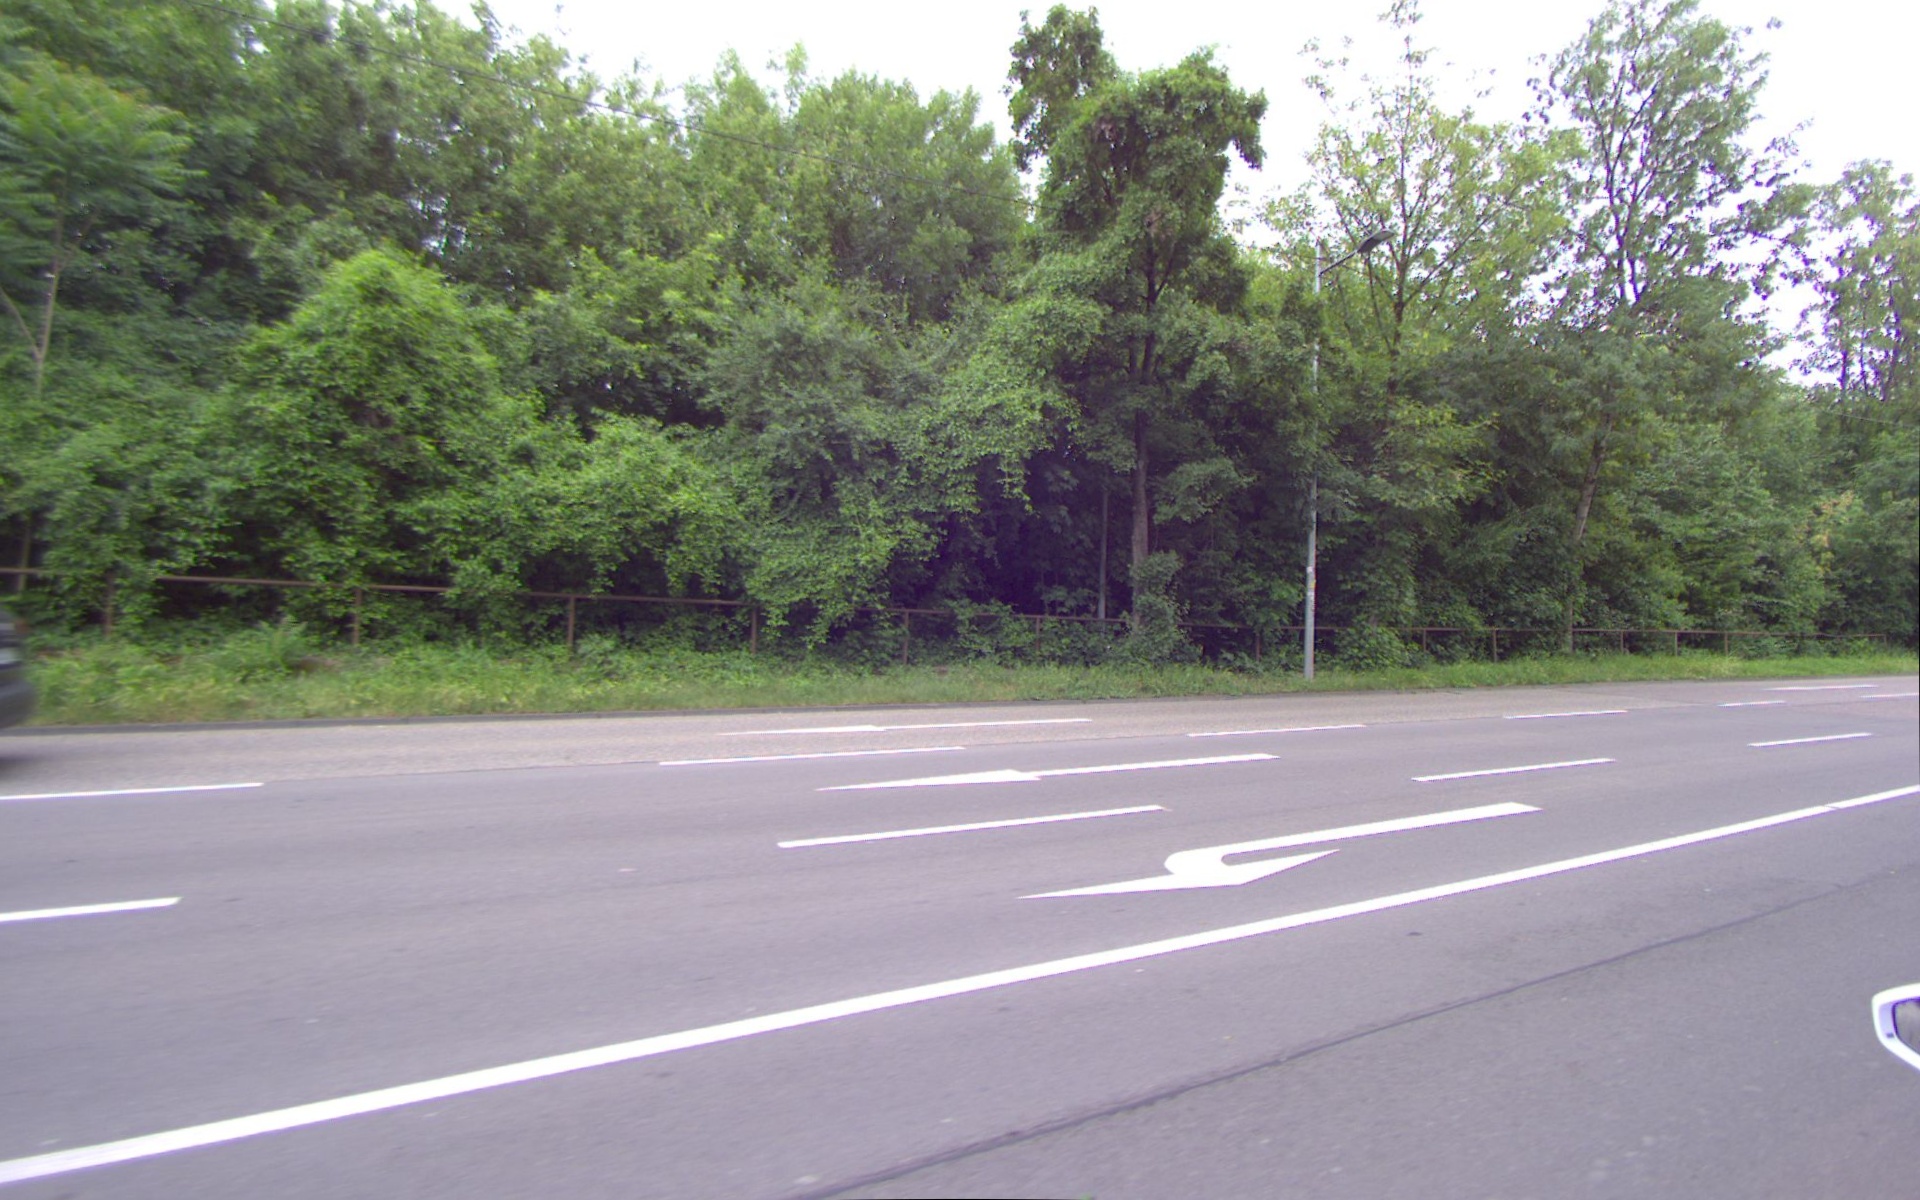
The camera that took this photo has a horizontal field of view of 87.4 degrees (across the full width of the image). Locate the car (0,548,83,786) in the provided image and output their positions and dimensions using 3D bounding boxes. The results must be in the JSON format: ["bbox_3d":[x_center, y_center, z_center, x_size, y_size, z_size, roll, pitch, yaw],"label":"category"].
[{"bbox_3d":[-8.945,0.388,6.806,4.170,1.675,1.814,2,0,-29],"label":"car"}]
